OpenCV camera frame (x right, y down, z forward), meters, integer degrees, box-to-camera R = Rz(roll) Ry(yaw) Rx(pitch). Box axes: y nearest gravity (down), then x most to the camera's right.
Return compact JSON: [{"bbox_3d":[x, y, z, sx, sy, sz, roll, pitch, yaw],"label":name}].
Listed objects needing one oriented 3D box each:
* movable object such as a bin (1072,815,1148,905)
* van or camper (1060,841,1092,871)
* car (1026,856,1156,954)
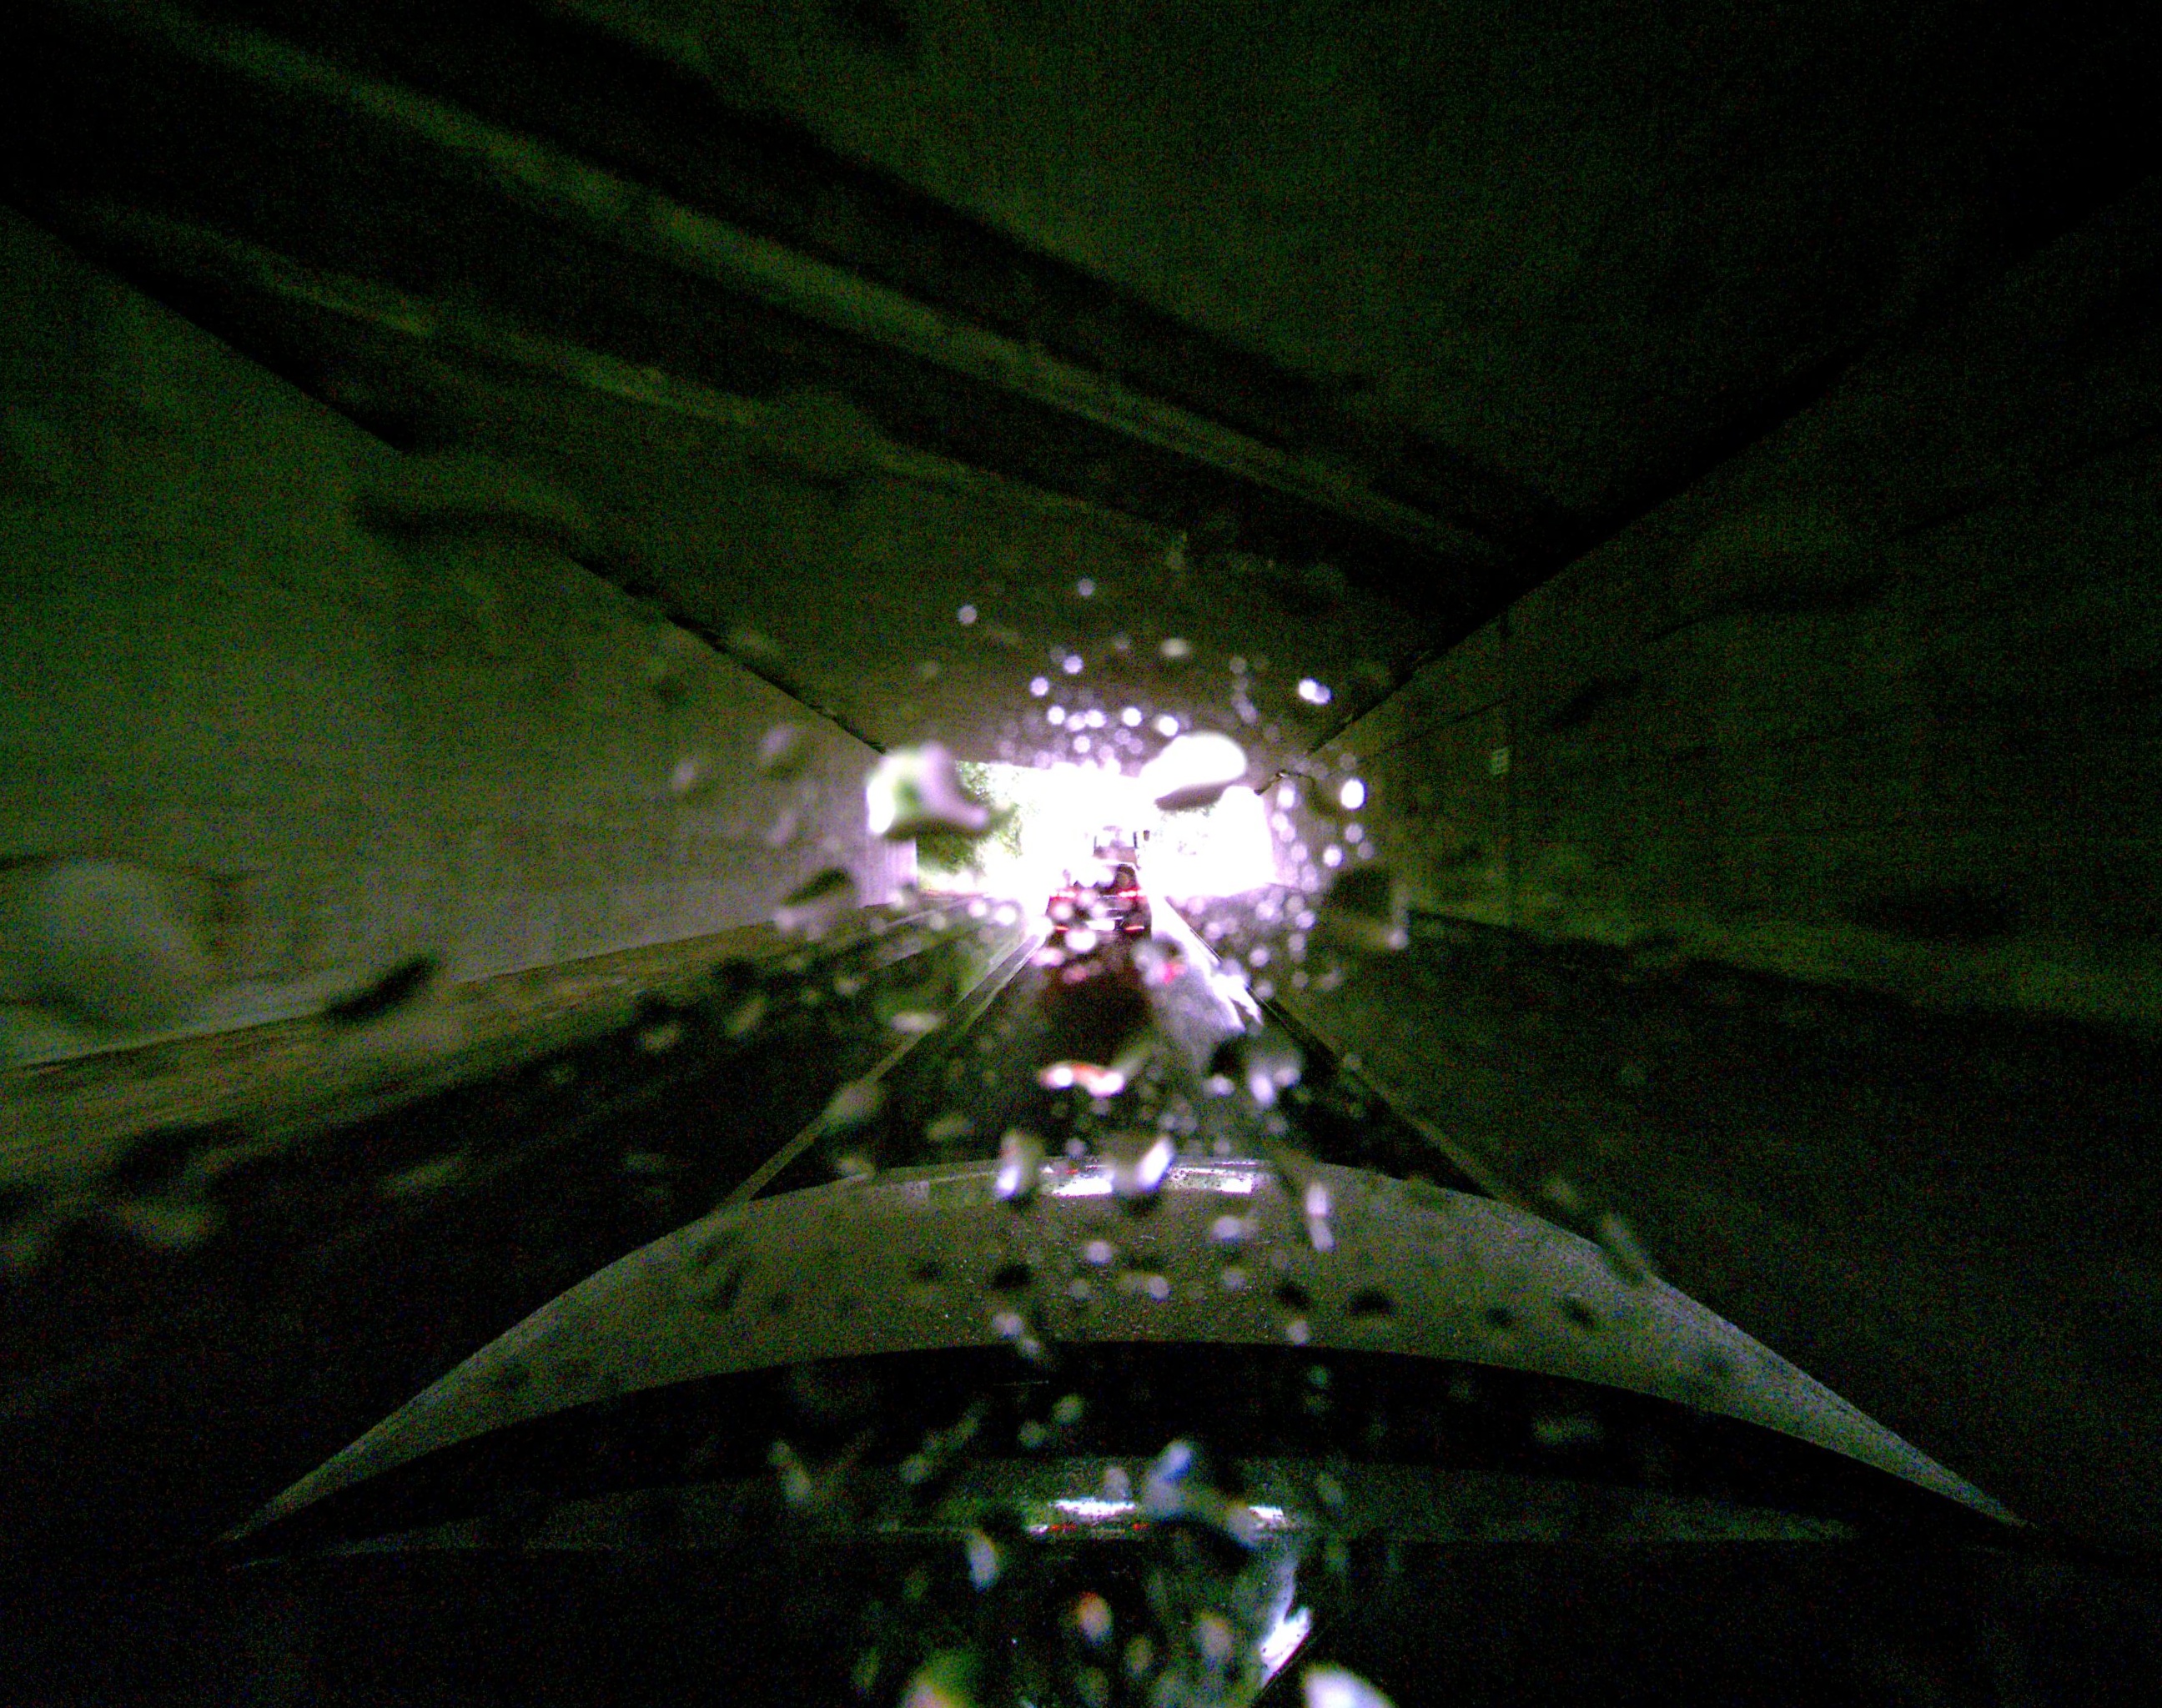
[{"bbox_3d":[0.958,0.187,27.531,2.237,2.669,6.629,0,0,2],"label":"movable object such as a bin"},{"bbox_3d":[-0.312,0.126,58.418,1.985,2.098,4.695,0,0,3],"label":"van or camper"},{"bbox_3d":[0.139,0.785,14.447,1.988,1.487,3.998,0,0,-1],"label":"car"}]
